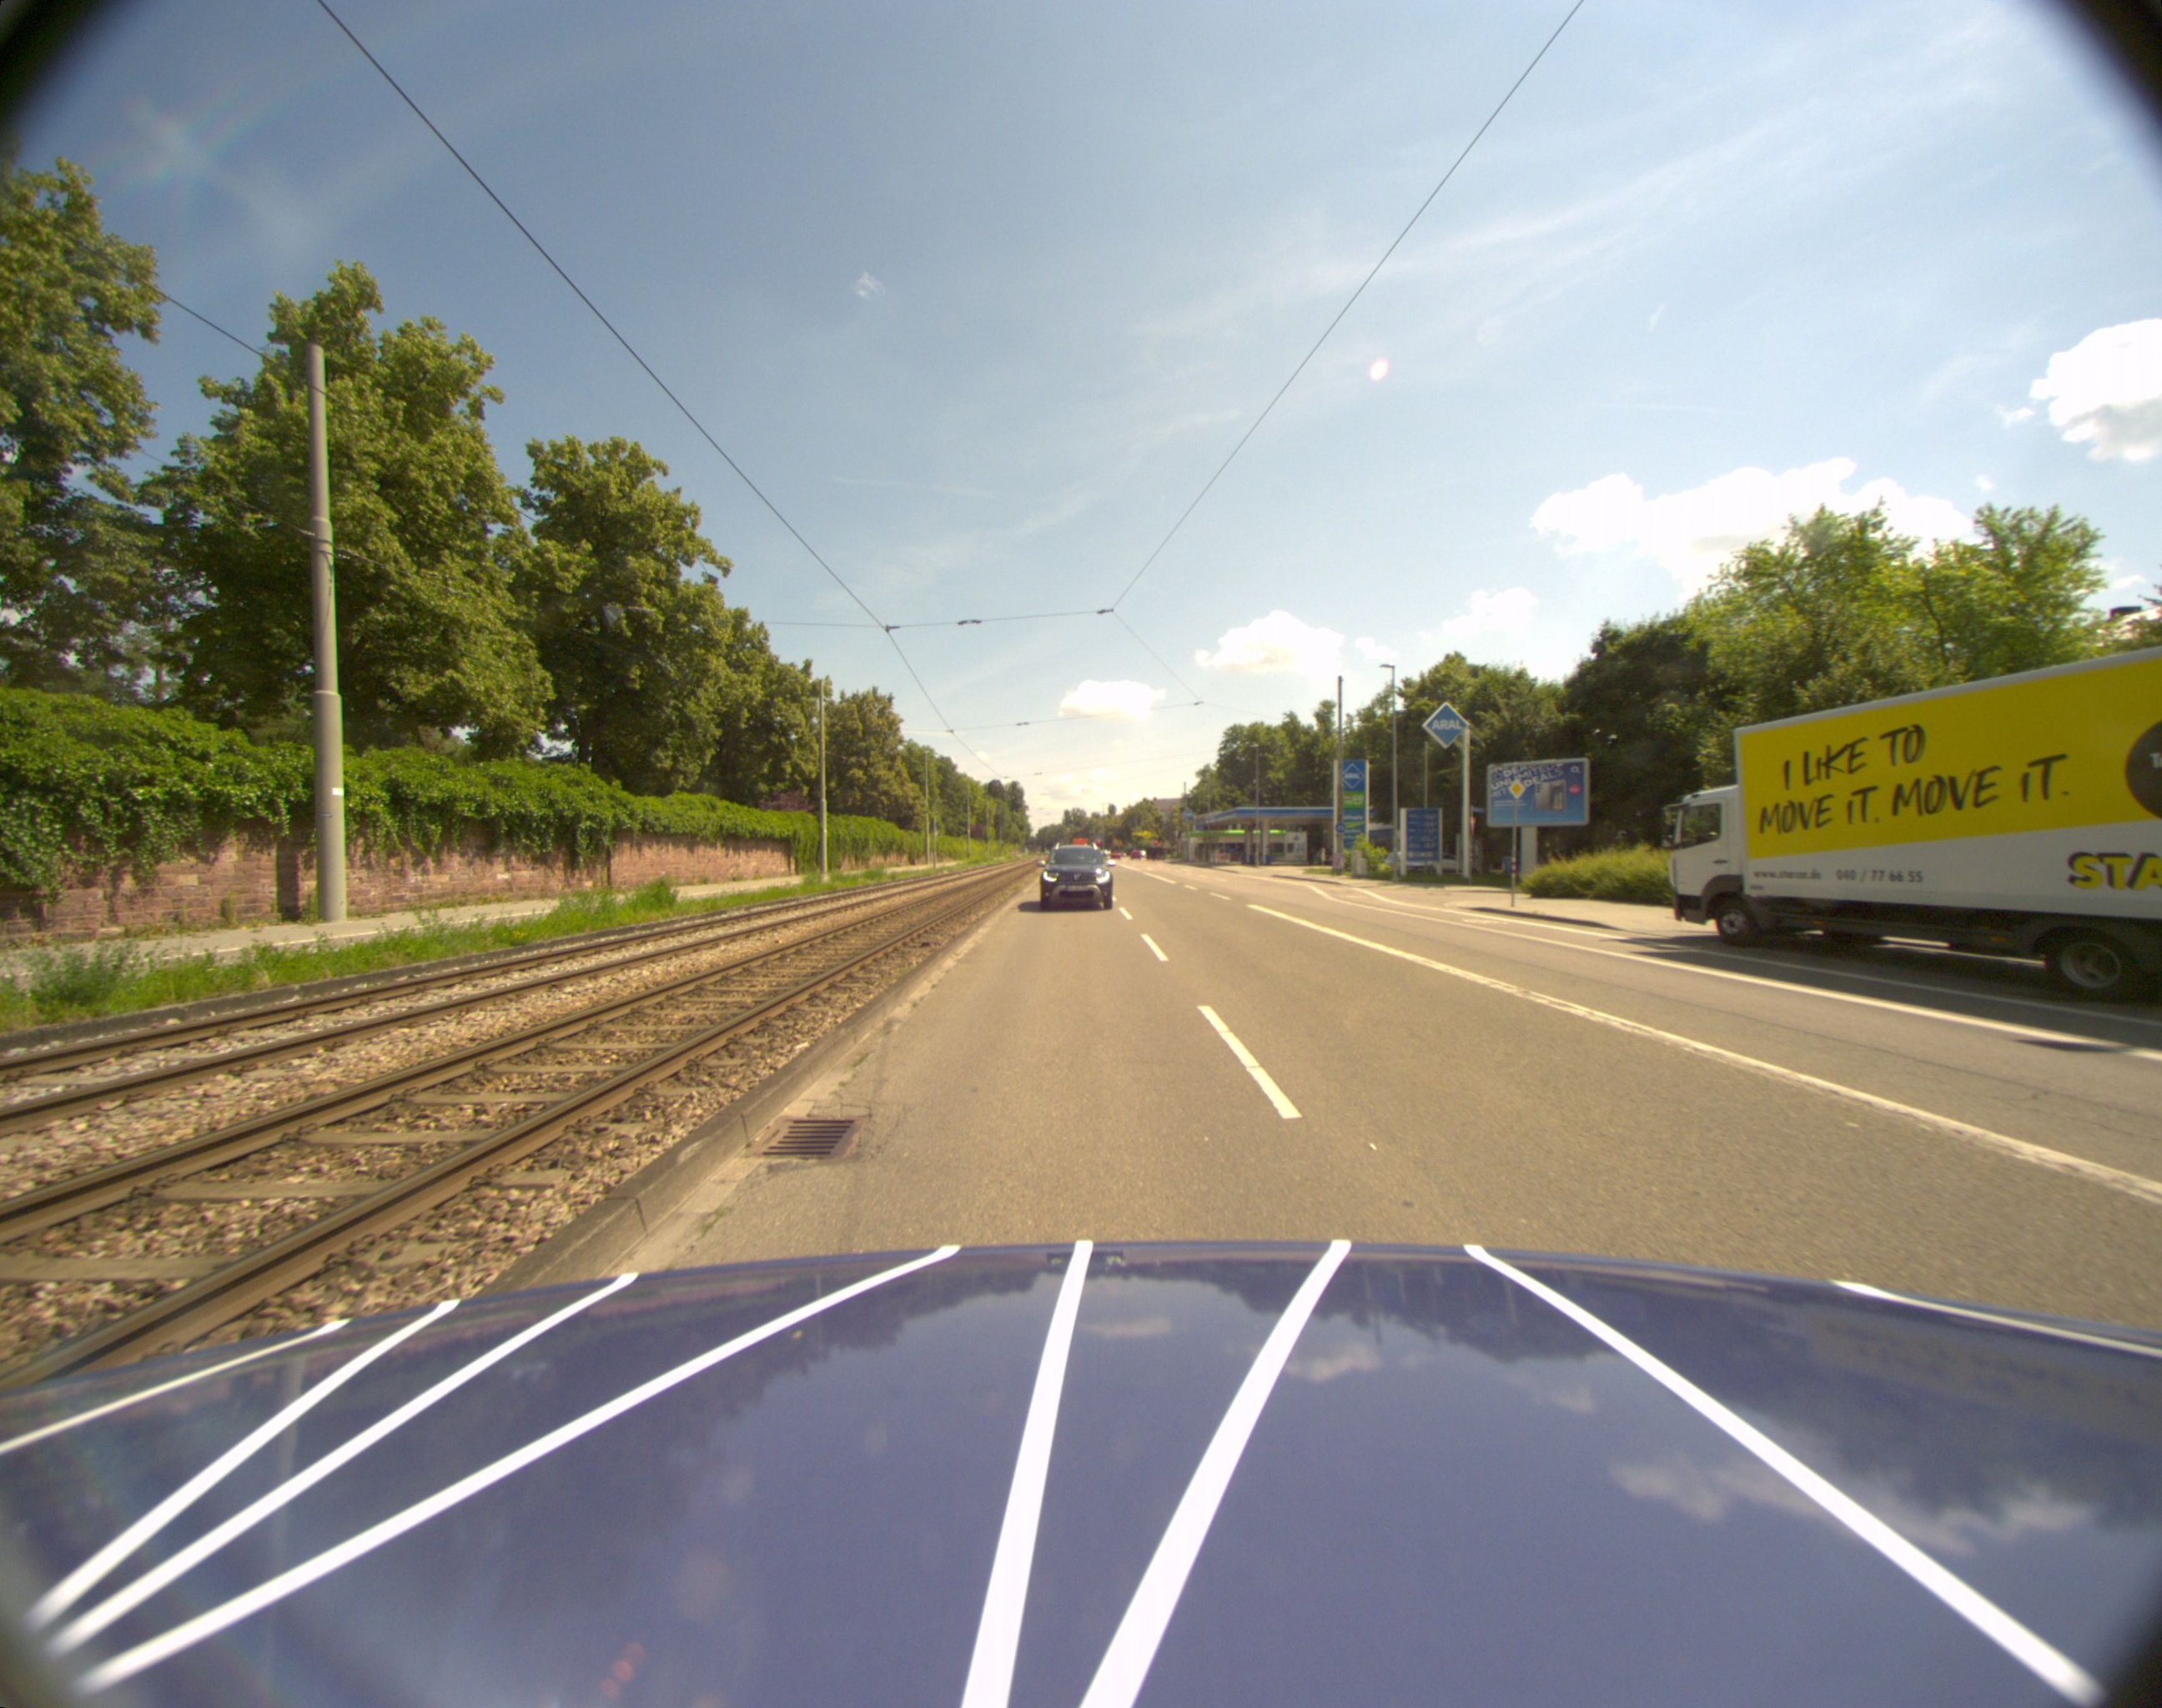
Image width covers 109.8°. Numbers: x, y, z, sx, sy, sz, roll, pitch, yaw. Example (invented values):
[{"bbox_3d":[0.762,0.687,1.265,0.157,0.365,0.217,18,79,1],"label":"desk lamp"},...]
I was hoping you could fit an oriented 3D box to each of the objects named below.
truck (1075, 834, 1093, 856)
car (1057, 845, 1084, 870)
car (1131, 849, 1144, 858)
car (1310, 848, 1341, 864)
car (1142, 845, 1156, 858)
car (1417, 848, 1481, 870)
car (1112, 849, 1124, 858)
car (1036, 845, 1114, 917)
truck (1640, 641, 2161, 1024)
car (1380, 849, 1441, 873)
[{"bbox_3d":[0.578,-1.622,131.992,2.845,3.575,8.704,-1,1,1],"label":"truck"},{"bbox_3d":[-0.711,0.236,54.415,1.801,1.683,4.144,0,1,1],"label":"car"},{"bbox_3d":[9.492,-0.090,128.634,1.998,1.379,4.000,0,0,1],"label":"car"},{"bbox_3d":[25.325,0.197,78.755,1.848,1.661,3.999,0,1,-2],"label":"car"},{"bbox_3d":[11.056,-0.365,124.059,1.998,2.133,4.000,0,1,1],"label":"car"},{"bbox_3d":[26.529,0.370,54.877,3.991,1.535,1.822,0,1,19],"label":"car"},{"bbox_3d":[6.181,-0.113,127.611,1.998,1.379,4.000,0,0,1],"label":"car"},{"bbox_3d":[-0.122,0.608,20.236,1.801,1.652,4.787,-1,0,0],"label":"car"},{"bbox_3d":[11.366,-0.266,9.368,2.838,3.528,8.169,-3,1,0],"label":"truck"},{"bbox_3d":[19.073,0.373,44.123,1.818,1.329,3.999,0,0,0],"label":"car"}]
